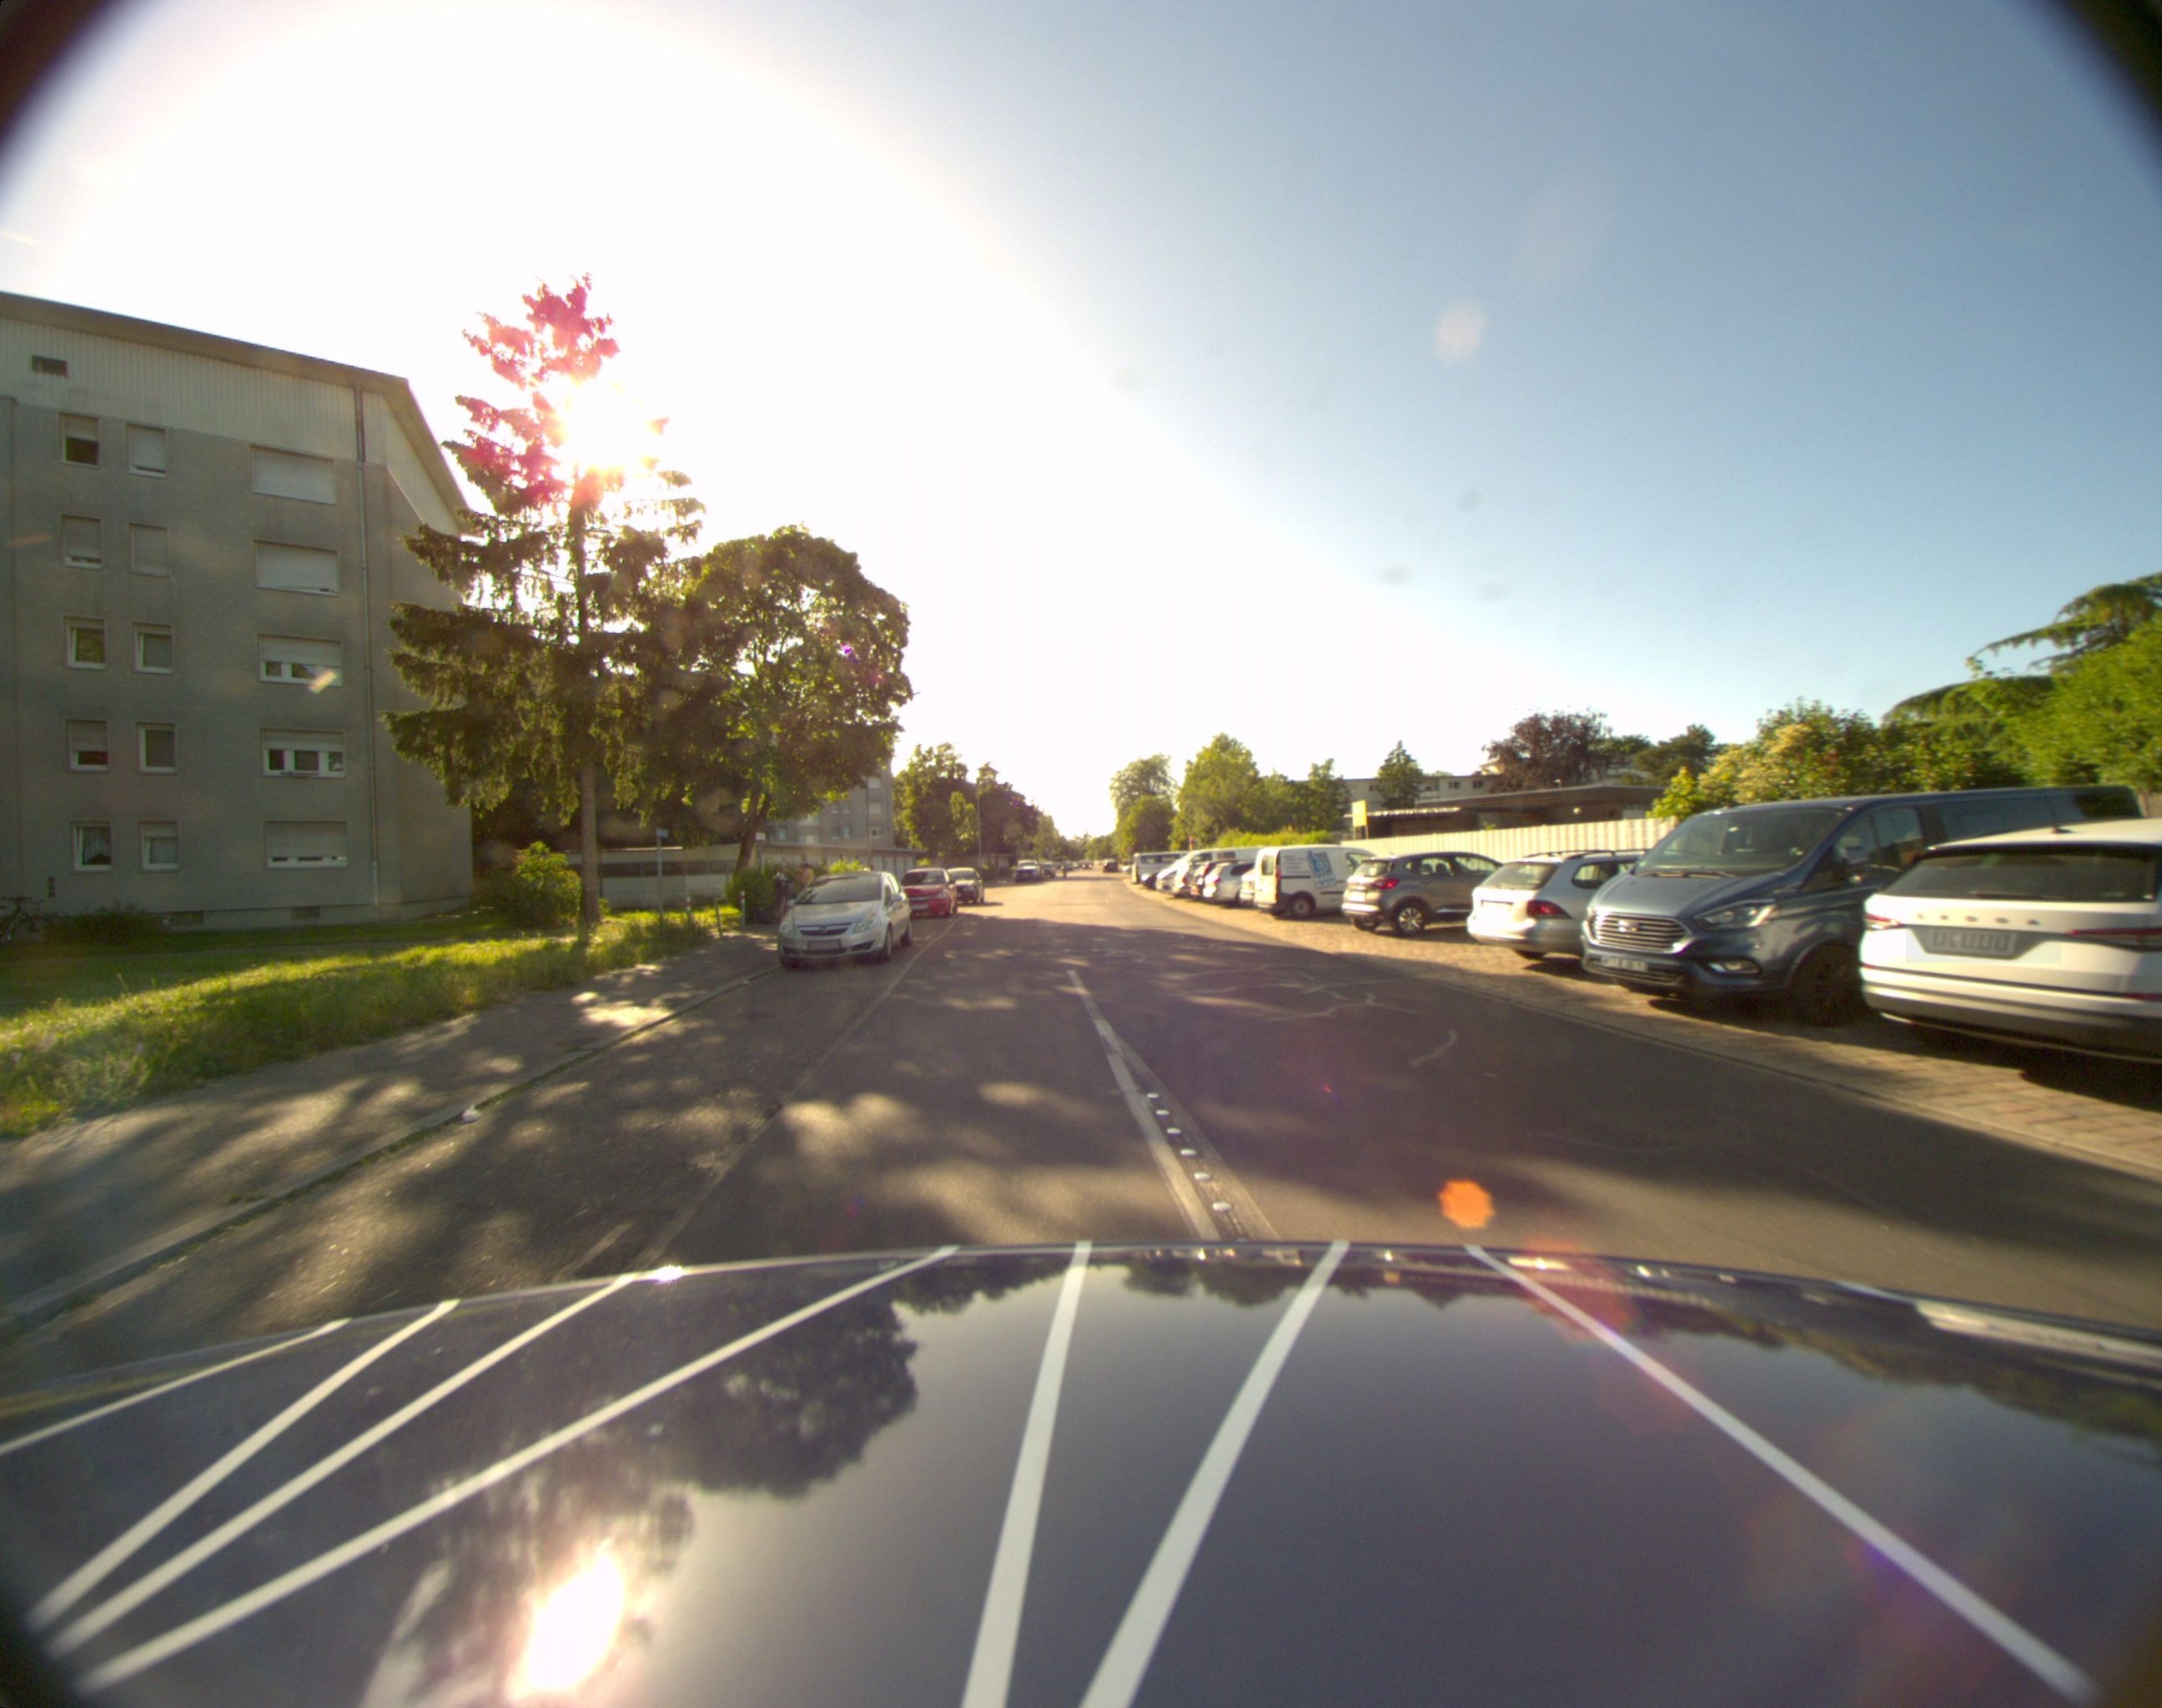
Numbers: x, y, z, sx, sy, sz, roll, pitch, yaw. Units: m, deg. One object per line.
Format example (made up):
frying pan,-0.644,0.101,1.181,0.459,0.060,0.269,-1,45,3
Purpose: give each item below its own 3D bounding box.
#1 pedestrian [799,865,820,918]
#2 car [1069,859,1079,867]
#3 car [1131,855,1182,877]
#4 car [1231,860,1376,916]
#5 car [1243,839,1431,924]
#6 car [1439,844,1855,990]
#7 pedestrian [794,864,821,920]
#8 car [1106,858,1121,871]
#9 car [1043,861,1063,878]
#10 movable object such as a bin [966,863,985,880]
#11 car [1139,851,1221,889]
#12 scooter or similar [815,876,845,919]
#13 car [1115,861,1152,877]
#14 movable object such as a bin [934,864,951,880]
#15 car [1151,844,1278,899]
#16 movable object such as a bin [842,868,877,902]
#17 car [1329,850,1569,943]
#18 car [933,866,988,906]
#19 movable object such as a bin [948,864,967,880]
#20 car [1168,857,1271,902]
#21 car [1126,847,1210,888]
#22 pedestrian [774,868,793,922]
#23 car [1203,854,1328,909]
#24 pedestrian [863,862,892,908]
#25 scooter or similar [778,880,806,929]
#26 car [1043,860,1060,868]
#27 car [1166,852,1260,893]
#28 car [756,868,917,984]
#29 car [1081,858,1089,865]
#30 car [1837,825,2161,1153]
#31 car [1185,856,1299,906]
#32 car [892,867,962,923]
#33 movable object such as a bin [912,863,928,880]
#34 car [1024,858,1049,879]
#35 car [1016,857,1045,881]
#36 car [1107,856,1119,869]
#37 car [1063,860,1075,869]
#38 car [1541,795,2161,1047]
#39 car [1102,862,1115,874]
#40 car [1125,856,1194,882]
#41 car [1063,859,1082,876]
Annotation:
pedestrian,-8.123,1.121,22.761,0.487,1.556,0.468,0,1,-7
car,-1.437,1.721,147.731,1.732,1.586,3.813,-3,0,2
car,6.279,0.974,63.811,3.997,1.524,1.831,-4,1,0
car,6.203,0.918,21.386,3.524,1.480,1.727,0,0,-6
car,6.393,0.671,19.236,3.989,1.770,1.925,-4,0,-6
car,7.323,0.737,10.120,4.149,1.484,1.924,-4,1,-4
pedestrian,-7.832,1.079,21.744,0.482,1.556,0.597,0,1,8
car,4.176,1.346,98.987,1.784,1.564,4.424,-3,-1,2
car,-2.946,1.640,80.329,1.808,1.584,4.024,-4,0,1
movable object such as a bin,-8.770,1.439,63.100,1.252,1.339,1.054,-2,1,13
car,5.262,0.851,40.445,4.159,1.696,1.884,-4,1,8
scooter or similar,-7.530,1.285,22.817,0.624,1.220,0.905,-1,1,-3
car,5.970,1.668,86.247,3.998,1.448,1.563,-4,1,-3
movable object such as a bin,-11.702,1.516,64.056,1.077,1.339,0.865,-2,1,13
car,5.541,0.697,31.960,4.802,1.909,2.081,-4,0,-4
movable object such as a bin,-9.696,1.358,33.290,1.240,1.395,0.914,-2,1,-1
car,7.060,0.761,14.766,3.826,1.523,1.788,-3,1,-8
car,-4.782,1.244,30.646,1.651,1.395,3.881,-1,0,-2
movable object such as a bin,-10.344,1.501,63.641,1.252,1.339,1.054,-2,1,13
car,5.310,0.956,29.343,3.524,1.438,1.635,-4,1,-7
car,4.895,0.742,43.388,4.490,1.965,2.000,-4,1,0
pedestrian,-8.345,1.145,21.306,0.362,1.495,0.500,0,1,-5
car,5.848,0.866,24.308,3.523,1.480,1.637,-4,0,0
pedestrian,-7.183,1.089,26.801,0.789,1.555,0.569,-4,1,-3
scooter or similar,-7.702,1.321,20.216,0.401,1.220,1.251,-1,1,-33
car,-6.266,2.073,161.310,3.504,1.499,1.602,-4,1,-4
car,6.088,0.844,35.454,3.997,1.573,1.884,-4,1,1
car,-3.979,1.083,13.028,1.736,1.534,3.787,-3,0,-5
car,1.007,1.764,182.643,1.732,1.586,3.813,-3,0,2
car,7.346,0.644,4.770,3.623,1.598,1.732,-4,1,-6
car,5.586,0.939,26.651,3.524,1.480,1.636,-3,-1,-5
car,-4.633,1.187,23.271,1.580,1.438,3.787,-3,0,-5
movable object such as a bin,-13.923,1.514,65.812,1.078,1.409,0.833,-2,1,7
car,-4.100,1.360,70.393,1.838,1.780,4.556,-4,-1,1
car,-4.243,1.240,64.329,1.911,1.829,5.275,-4,-1,1
car,5.116,1.352,122.605,1.909,1.930,4.512,0,0,3
car,-1.937,1.704,125.646,1.732,1.462,3.813,-3,0,2
car,7.500,0.516,7.451,4.887,1.904,1.999,-2,1,-7
car,3.968,2.029,108.590,1.817,1.672,3.649,0,0,2
car,5.336,1.018,52.159,4.555,1.470,1.748,-4,-1,2
car,-0.807,1.319,76.939,1.732,1.586,3.813,-3,0,2
